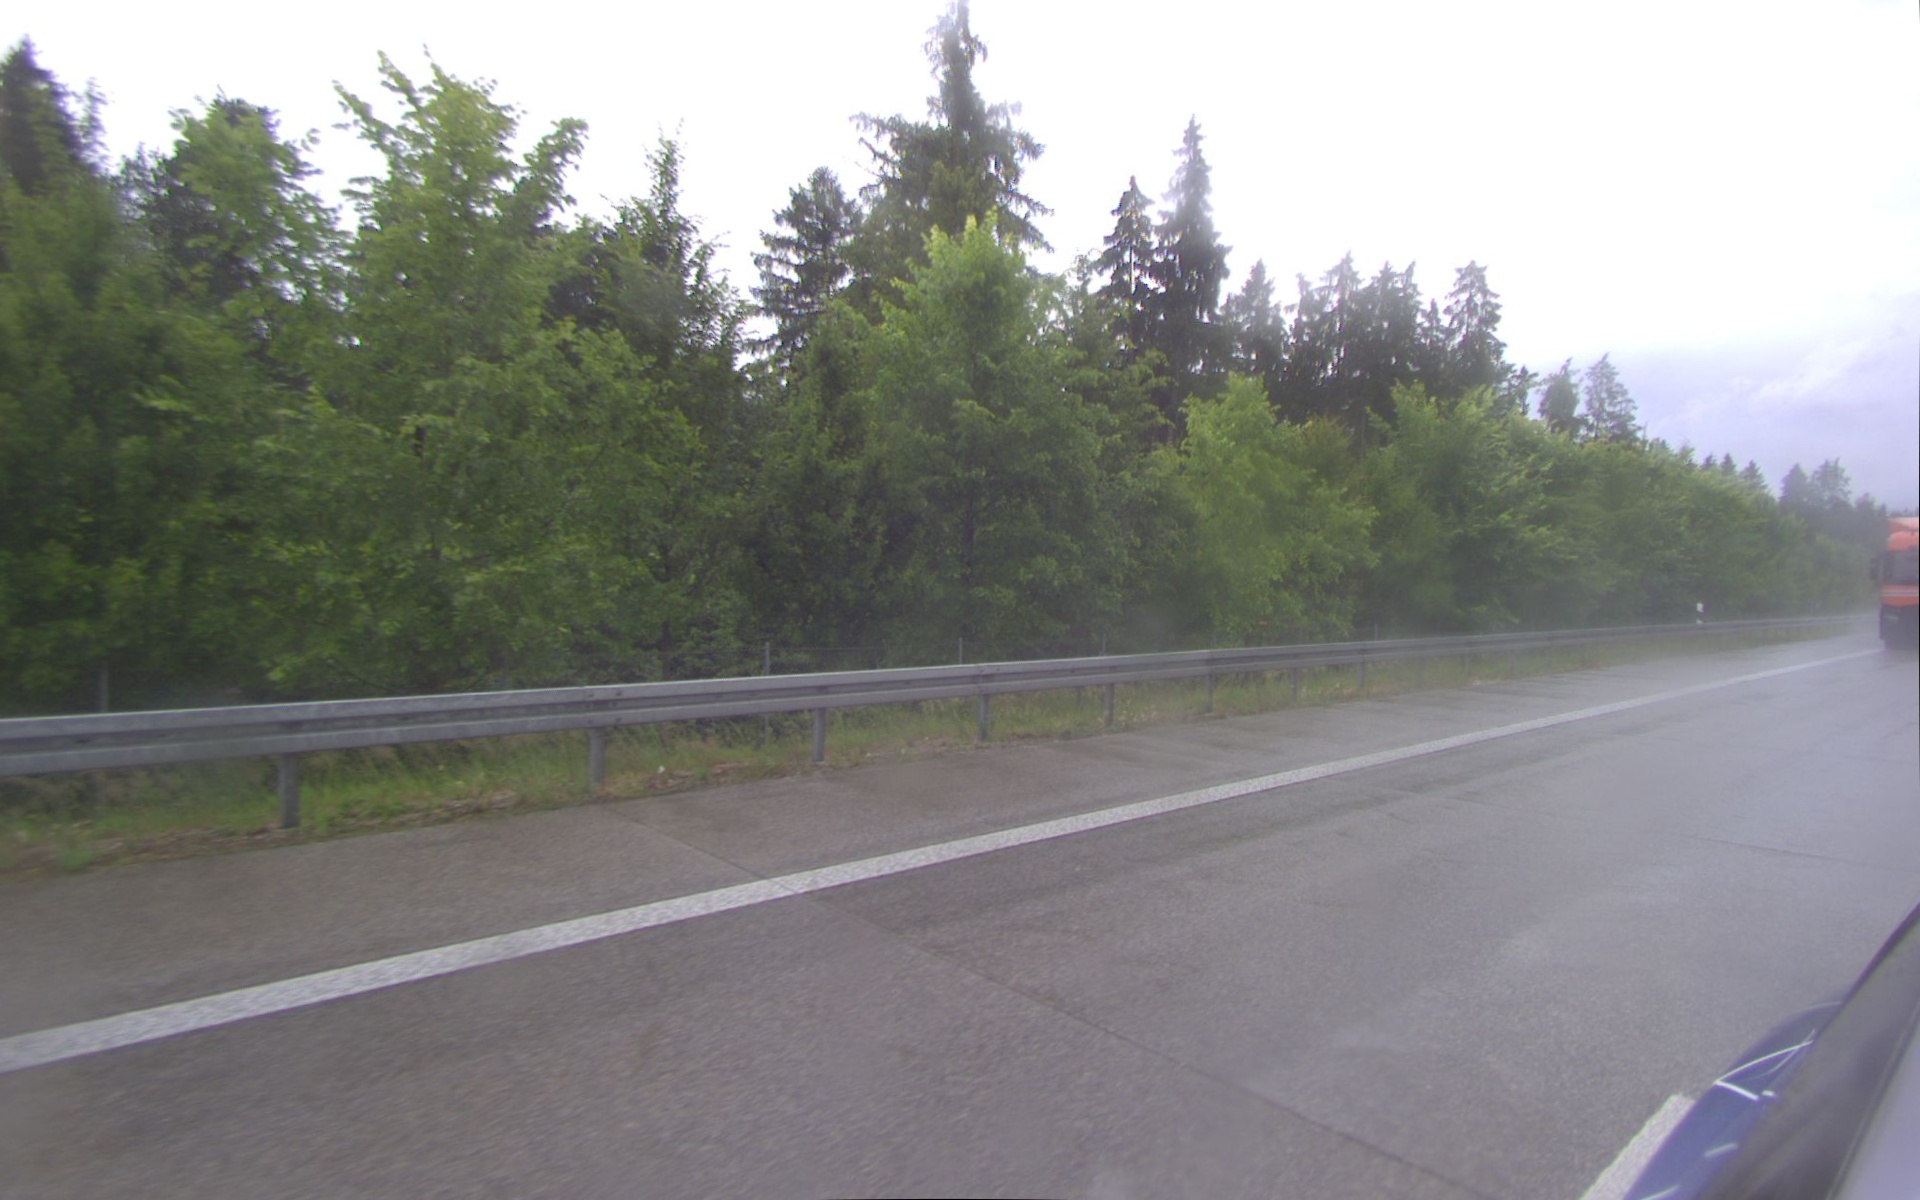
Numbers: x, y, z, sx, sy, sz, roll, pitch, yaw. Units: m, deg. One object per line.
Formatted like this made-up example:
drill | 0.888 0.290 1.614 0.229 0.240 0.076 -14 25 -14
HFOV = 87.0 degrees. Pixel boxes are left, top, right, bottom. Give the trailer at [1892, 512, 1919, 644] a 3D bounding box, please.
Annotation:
trailer | 35.870 -0.624 35.708 12.777 4.207 2.801 0 3 -41

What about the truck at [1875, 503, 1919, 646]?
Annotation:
truck | 30.214 -0.693 30.749 5.341 4.138 2.765 1 3 -41
